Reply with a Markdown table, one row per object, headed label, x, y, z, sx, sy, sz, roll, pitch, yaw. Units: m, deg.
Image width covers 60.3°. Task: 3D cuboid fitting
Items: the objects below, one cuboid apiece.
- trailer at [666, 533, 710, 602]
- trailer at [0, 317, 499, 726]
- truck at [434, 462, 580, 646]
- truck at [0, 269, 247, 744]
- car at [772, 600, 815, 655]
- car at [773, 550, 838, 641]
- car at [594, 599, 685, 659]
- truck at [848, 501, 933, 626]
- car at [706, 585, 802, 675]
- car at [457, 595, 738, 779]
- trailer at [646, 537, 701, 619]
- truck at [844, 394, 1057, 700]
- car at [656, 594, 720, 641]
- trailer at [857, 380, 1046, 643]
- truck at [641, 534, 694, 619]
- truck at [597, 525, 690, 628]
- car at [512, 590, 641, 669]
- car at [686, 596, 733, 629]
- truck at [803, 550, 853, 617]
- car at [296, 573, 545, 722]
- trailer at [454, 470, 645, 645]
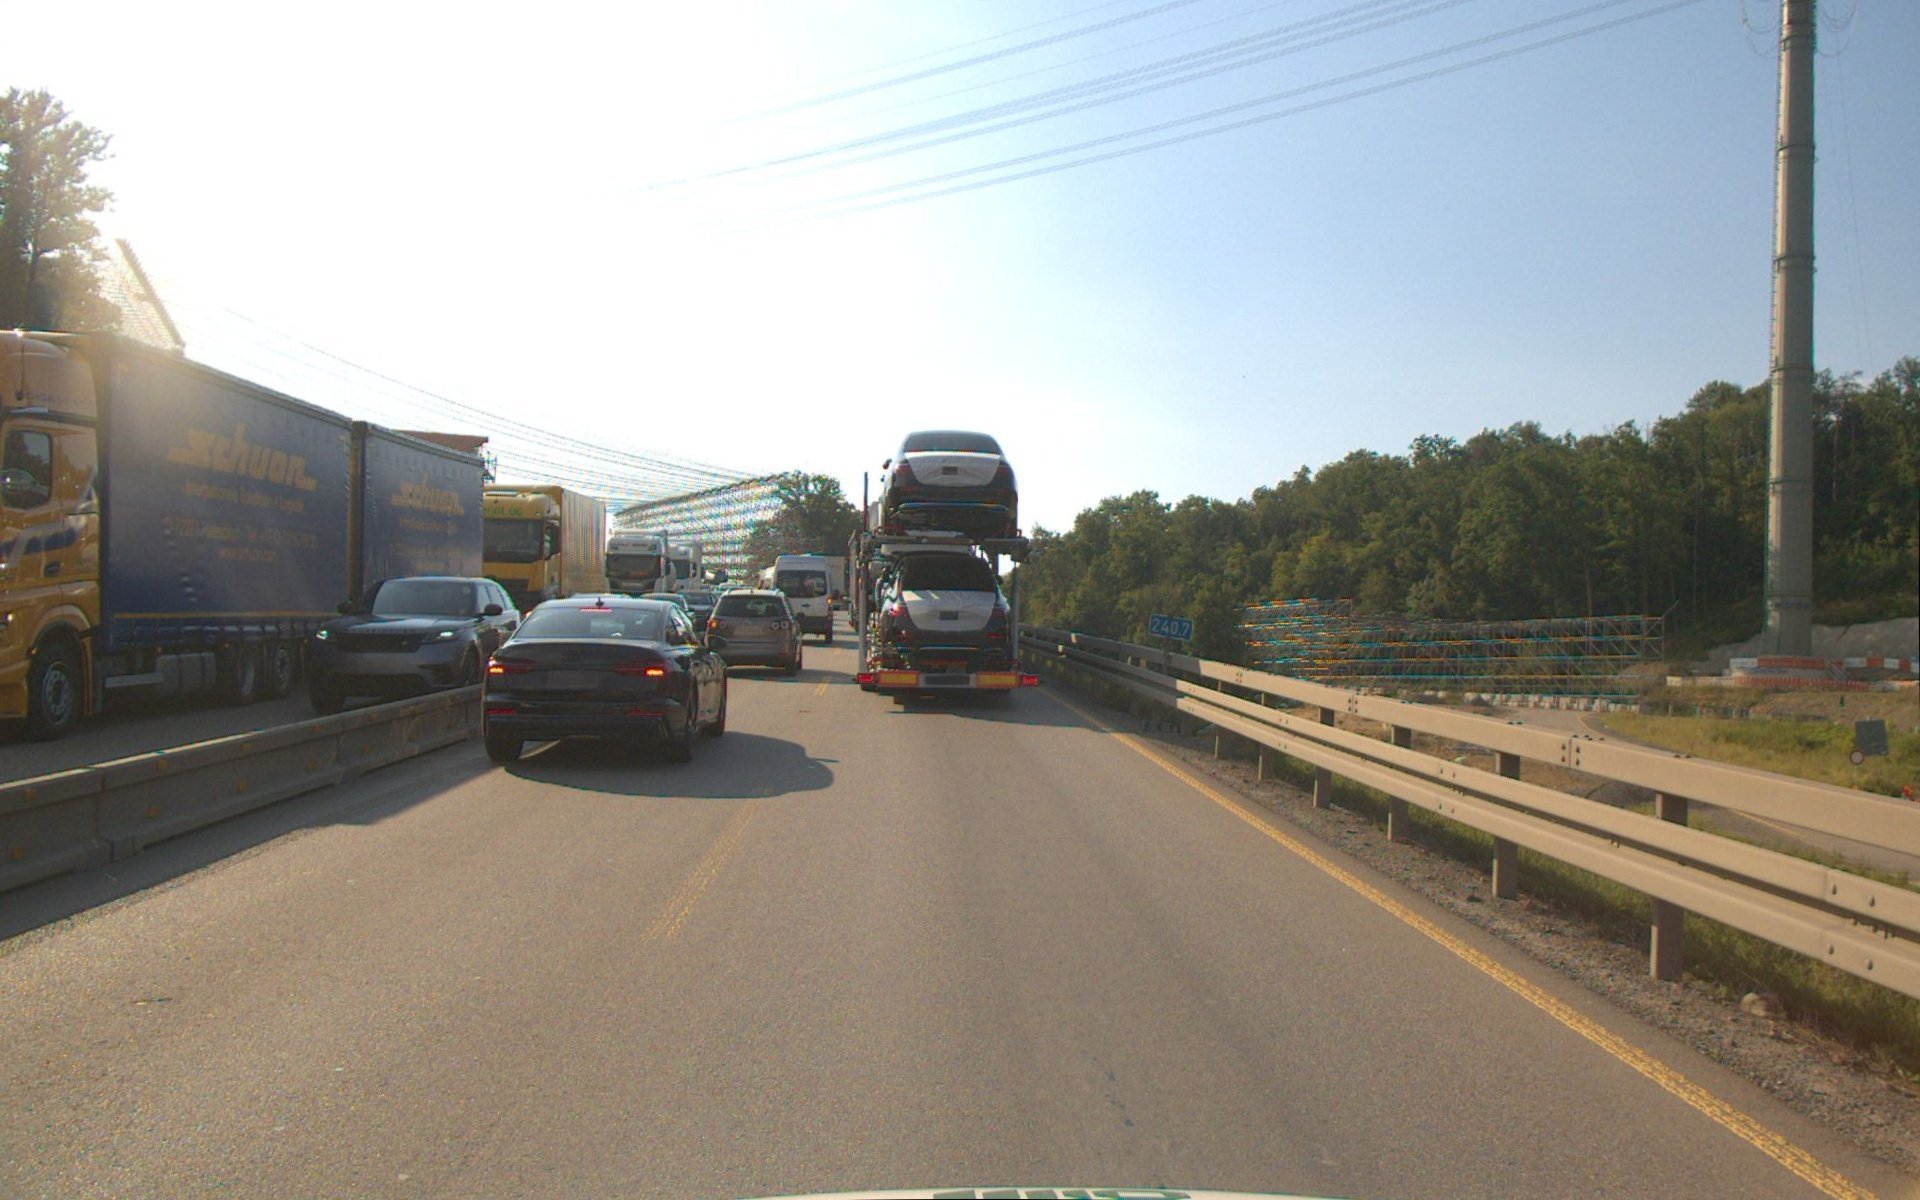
| label | x | y | z | sx | sy | sz | roll | pitch | yaw |
| --- | --- | --- | --- | --- | --- | --- | --- | --- | --- |
| trailer | -19.518 | -2.204 | 119.147 | 2.839 | 4.471 | 14.351 | 0 | -1 | -8 |
| trailer | -10.362 | -0.697 | 25.345 | 2.660 | 4.207 | 16.741 | 0 | -1 | -3 |
| truck | -11.038 | -1.036 | 40.668 | 2.641 | 4.270 | 4.394 | 0 | -1 | -4 |
| truck | -9.979 | -0.794 | 17.382 | 2.647 | 4.213 | 5.790 | 0 | -1 | -3 |
| car | -6.585 | 1.077 | 65.628 | 1.498 | 2.049 | 3.996 | 3 | -1 | -5 |
| car | -4.819 | -0.110 | 51.994 | 1.940 | 2.731 | 4.143 | 0 | -1 | -4 |
| car | -8.389 | 0.758 | 43.669 | 1.761 | 1.478 | 4.612 | 0 | -1 | -4 |
| truck | -3.037 | -1.470 | 69.049 | 3.164 | 4.758 | 11.686 | 1 | 1 | -4 |
| car | -3.935 | 0.575 | 32.068 | 1.667 | 1.615 | 4.142 | 0 | -1 | -5 |
| car | -3.361 | 0.742 | 16.351 | 1.902 | 1.506 | 5.218 | 0 | 0 | -3 |
| trailer | -16.331 | -1.115 | 94.979 | 2.406 | 4.340 | 12.127 | 0 | -1 | -7 |
| truck | -0.150 | -0.661 | 24.762 | 2.811 | 4.050 | 5.770 | 0 | -1 | -1 |
| car | -9.227 | 0.593 | 56.349 | 1.682 | 1.534 | 4.288 | 0 | -1 | -3 |
| trailer | -0.592 | -1.260 | 33.233 | 2.818 | 4.064 | 15.265 | 0 | -1 | -4 |
| truck | -15.662 | -1.188 | 88.914 | 2.397 | 4.346 | 6.312 | 0 | -1 | -7 |
| truck | -13.798 | -0.839 | 73.117 | 2.755 | 4.040 | 13.874 | 1 | -1 | -6 |
| car | -7.851 | 0.597 | 34.269 | 1.752 | 1.524 | 4.722 | 0 | -1 | -3 |
| car | -11.241 | 0.565 | 74.475 | 1.705 | 1.427 | 4.898 | 0 | -1 | -4 |
| truck | -9.959 | -1.270 | 125.678 | 3.576 | 4.758 | 11.686 | 1 | 1 | -4 |
| car | -6.885 | 0.589 | 21.662 | 1.888 | 1.731 | 4.688 | 0 | -1 | -3 |
| trailer | -11.580 | -0.931 | 48.565 | 2.648 | 4.278 | 15.983 | 0 | -1 | -4 |
